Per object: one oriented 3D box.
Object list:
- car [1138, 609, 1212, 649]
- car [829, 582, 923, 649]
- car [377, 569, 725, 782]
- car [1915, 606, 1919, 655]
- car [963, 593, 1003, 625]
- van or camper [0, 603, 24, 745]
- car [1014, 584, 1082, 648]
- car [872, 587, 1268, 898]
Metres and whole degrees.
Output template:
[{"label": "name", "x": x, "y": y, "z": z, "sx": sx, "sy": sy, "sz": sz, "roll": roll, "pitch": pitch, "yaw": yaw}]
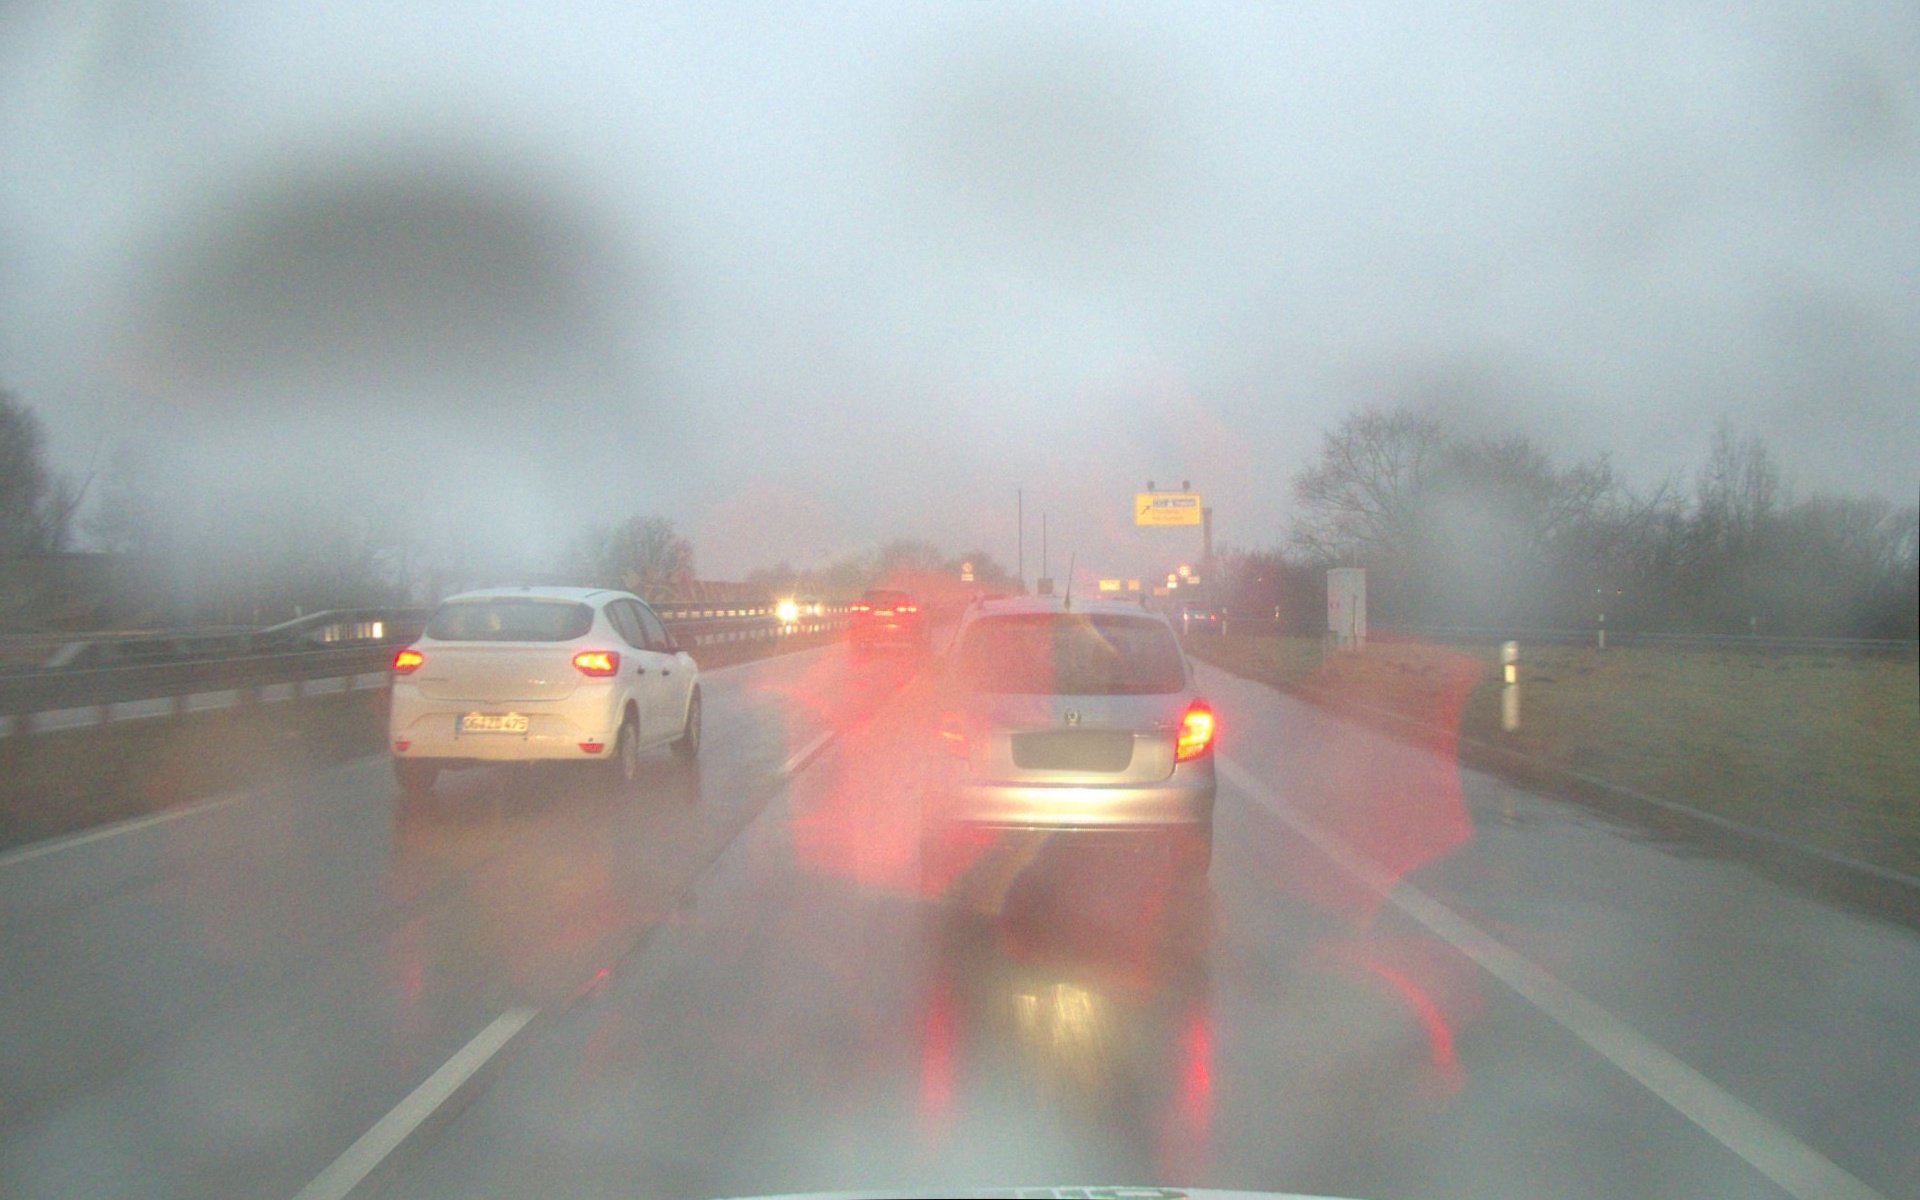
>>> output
[{"label": "car", "x": 8.956, "y": 1.187, "z": 69.062, "sx": 1.759, "sy": 1.572, "sz": 3.986, "roll": 0, "pitch": 0, "yaw": -14}, {"label": "car", "x": -2.154, "y": 0.377, "z": 43.516, "sx": 1.952, "sy": 1.629, "sz": 4.310, "roll": 1, "pitch": 0, "yaw": 3}, {"label": "car", "x": -3.136, "y": 0.531, "z": 13.561, "sx": 1.688, "sy": 1.465, "sz": 4.226, "roll": 0, "pitch": 0, "yaw": 2}, {"label": "car", "x": 28.818, "y": 0.882, "z": 45.730, "sx": 3.905, "sy": 1.369, "sz": 2.000, "roll": 0, "pitch": 0, "yaw": 21}, {"label": "car", "x": 1.185, "y": 0.442, "z": 83.364, "sx": 1.751, "sy": 1.572, "sz": 4.002, "roll": 0, "pitch": 0, "yaw": 5}, {"label": "van or camper", "x": -11.103, "y": 0.800, "z": 15.816, "sx": 1.494, "sy": 1.507, "sz": 4.436, "roll": 0, "pitch": 0, "yaw": 5}, {"label": "car", "x": 2.630, "y": 0.438, "z": 48.641, "sx": 1.857, "sy": 1.798, "sz": 4.311, "roll": 0, "pitch": 0, "yaw": 5}, {"label": "car", "x": 0.569, "y": 0.714, "z": 10.246, "sx": 1.952, "sy": 1.527, "sz": 4.138, "roll": 0, "pitch": 0, "yaw": 1}]
